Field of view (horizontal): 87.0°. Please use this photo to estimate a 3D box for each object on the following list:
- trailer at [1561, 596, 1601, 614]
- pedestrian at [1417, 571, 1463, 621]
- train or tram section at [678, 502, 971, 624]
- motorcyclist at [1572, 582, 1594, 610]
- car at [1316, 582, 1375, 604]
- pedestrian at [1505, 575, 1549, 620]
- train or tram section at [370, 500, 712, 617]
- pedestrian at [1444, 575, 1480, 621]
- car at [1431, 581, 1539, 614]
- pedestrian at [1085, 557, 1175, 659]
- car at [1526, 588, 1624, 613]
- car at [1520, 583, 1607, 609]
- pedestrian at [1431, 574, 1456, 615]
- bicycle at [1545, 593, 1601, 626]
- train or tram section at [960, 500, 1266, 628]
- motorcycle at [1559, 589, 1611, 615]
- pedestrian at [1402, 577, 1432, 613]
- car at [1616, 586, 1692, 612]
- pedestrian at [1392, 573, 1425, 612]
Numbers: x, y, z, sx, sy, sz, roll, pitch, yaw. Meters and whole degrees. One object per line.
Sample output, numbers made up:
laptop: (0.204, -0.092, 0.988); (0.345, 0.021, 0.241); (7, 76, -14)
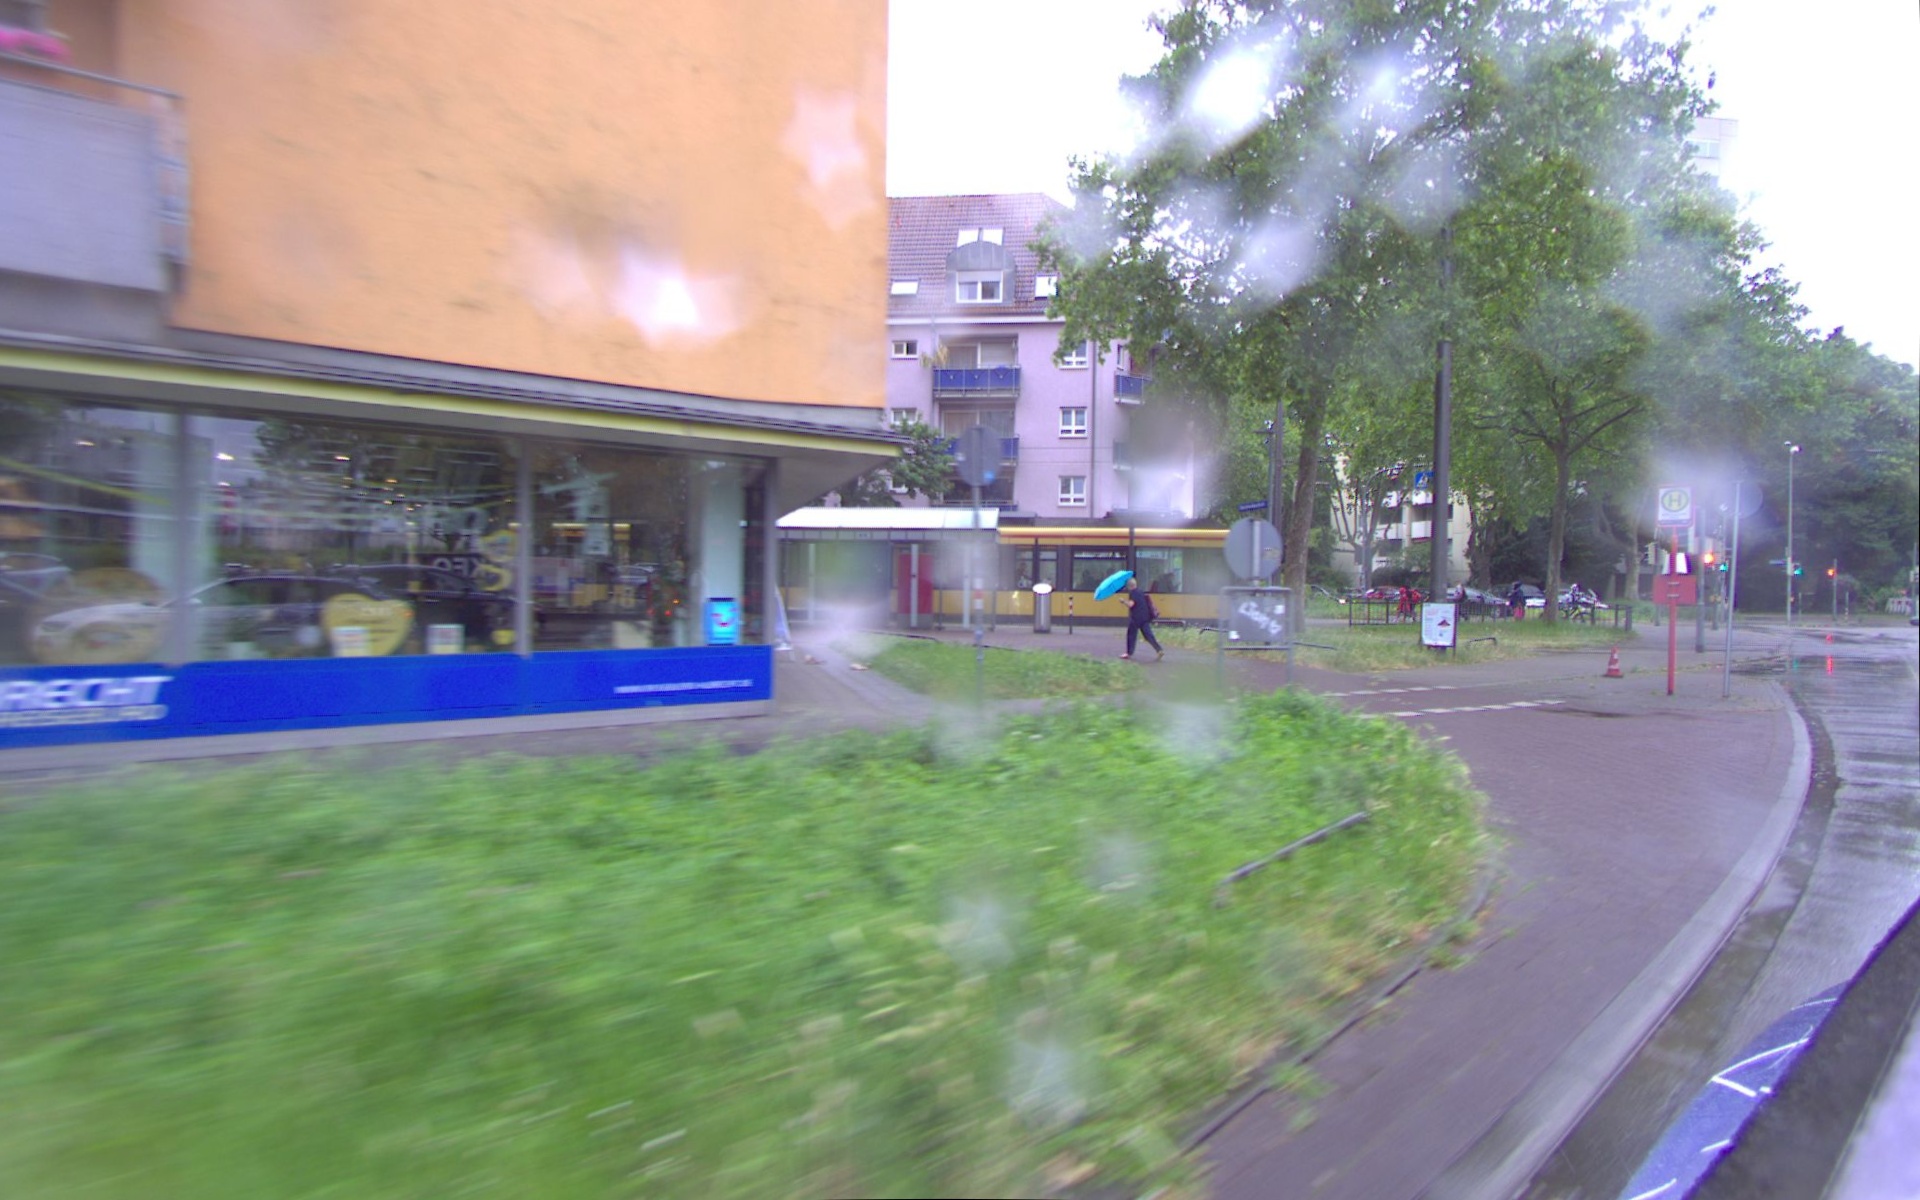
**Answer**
trailer: (30.861, 0.261, 50.319); (1.009, 0.852, 1.480); (0, 1, -41)
pedestrian: (17.938, -0.158, 37.812); (1.020, 1.811, 1.235); (0, 1, -41)
train or tram section: (-3.906, -1.095, 30.064); (8.234, 3.393, 2.640); (1, 0, 8)
motorcyclist: (31.461, -0.209, 51.117); (0.745, 1.368, 0.753); (0, 0, -43)
car: (29.935, -0.554, 78.677); (1.894, 1.654, 4.002); (0, 1, -33)
pedestrian: (21.818, -0.098, 38.973); (0.975, 1.707, 1.058); (1, 1, -24)
train or tram section: (-12.858, -1.261, 31.311); (9.818, 3.393, 2.640); (1, 0, 8)
pedestrian: (20.108, -0.102, 40.511); (0.796, 1.803, 0.994); (1, 1, -35)
car: (24.703, -0.135, 47.705); (4.166, 1.479, 1.962); (1, 1, 45)
pedestrian: (3.272, 0.124, 19.465); (1.374, 1.888, 1.162); (1, 1, 31)
car: (32.614, 0.016, 53.734); (4.157, 1.291, 1.874); (1, 1, 43)
car: (38.983, -0.256, 65.469); (1.905, 1.628, 4.453); (0, 1, -37)
pedestrian: (19.128, -0.216, 40.062); (0.752, 1.567, 0.688); (2, 1, 19)
bicycle: (21.031, 0.308, 34.747); (1.604, 1.090, 0.442); (1, 0, 29)
train or tram section: (4.256, -1.012, 28.892); (8.237, 3.412, 2.640); (1, 0, 9)
motorcycle: (31.512, 0.087, 51.059); (0.866, 1.230, 2.070); (0, 0, -42)
pedestrian: (18.453, -0.219, 40.858); (1.003, 1.399, 0.666); (2, 1, 33)
car: (42.207, -0.084, 61.577); (1.809, 1.544, 3.456); (0, 1, -40)
pedestrian: (17.927, -0.301, 40.450); (1.049, 1.544, 0.875); (1, 1, 15)
